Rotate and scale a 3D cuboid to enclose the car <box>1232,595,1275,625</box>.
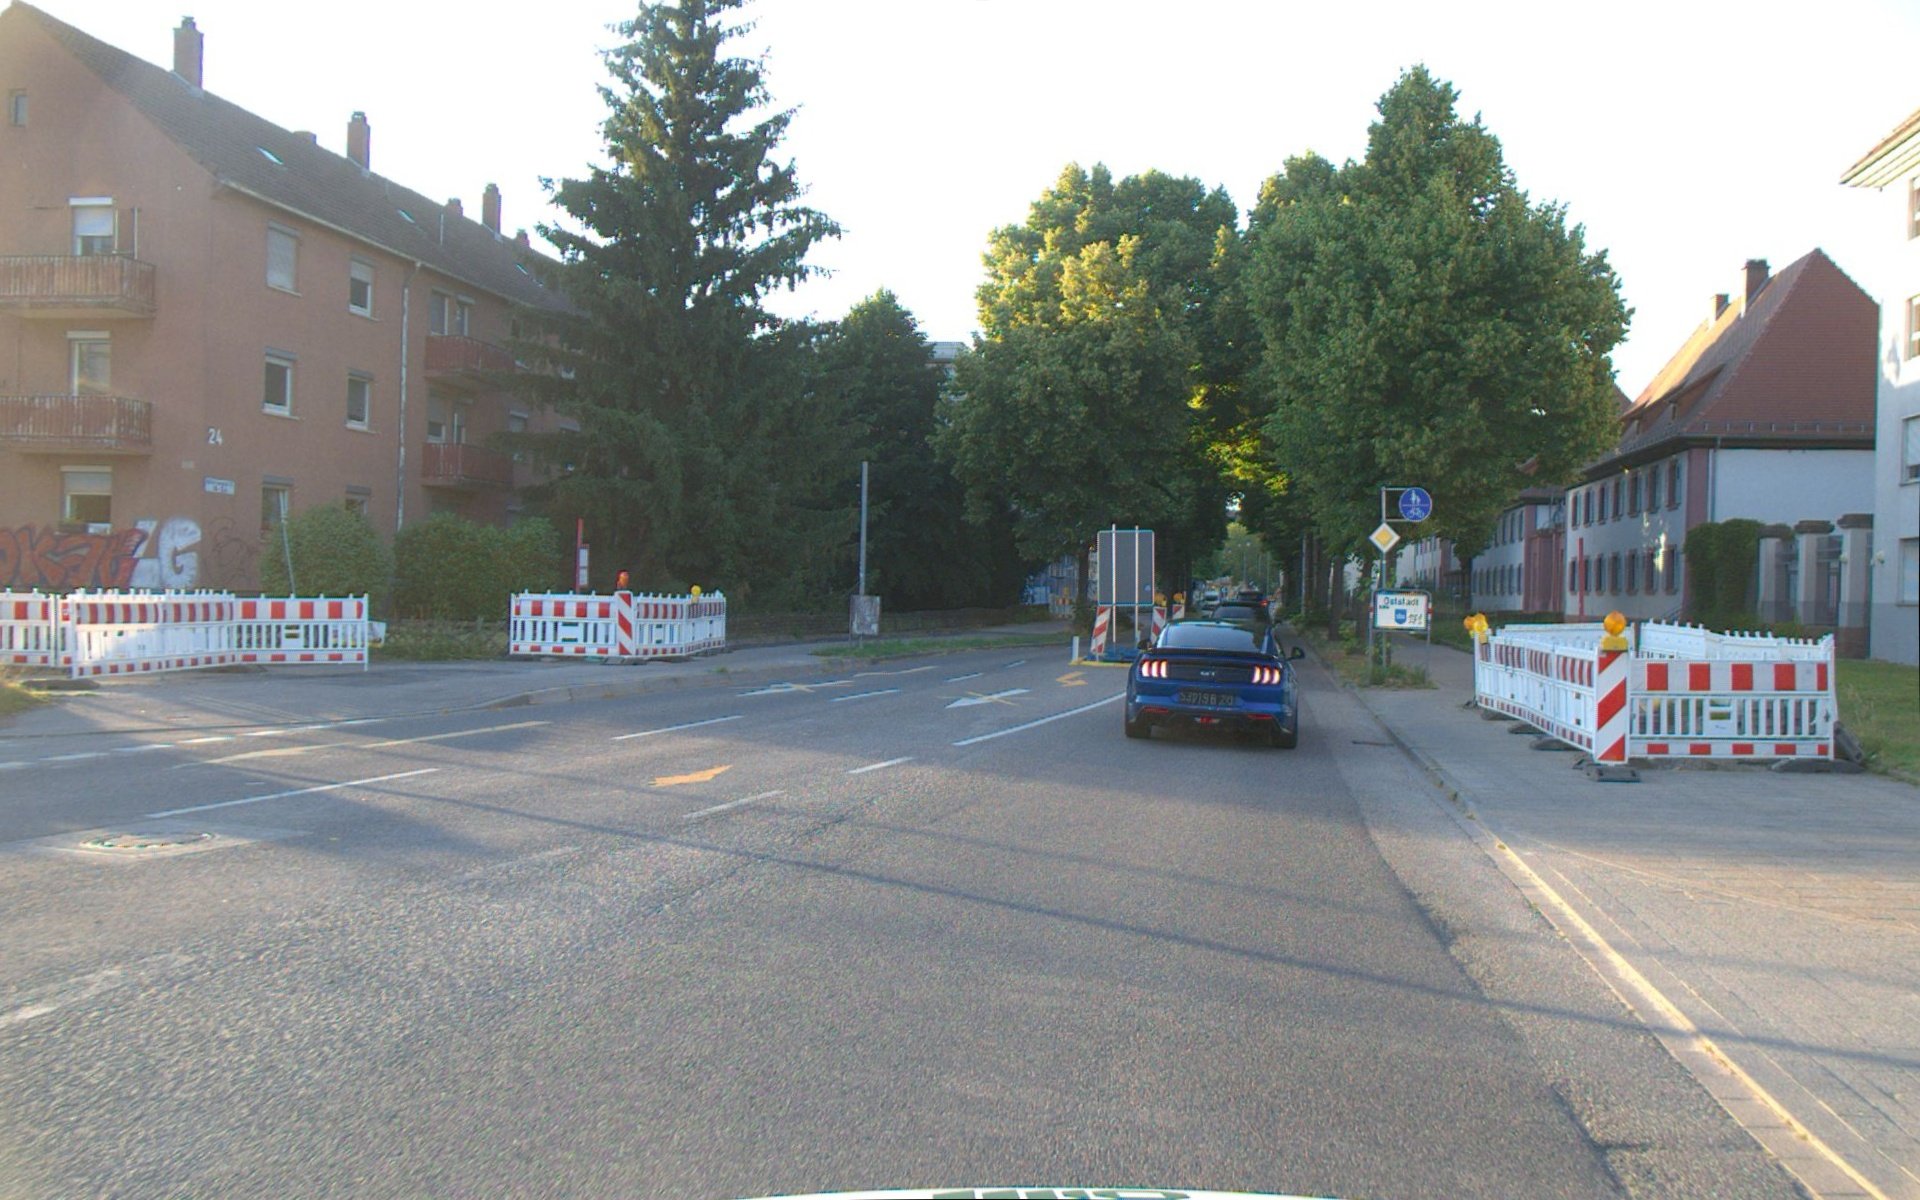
[{"bbox_3d":[14.736,0.493,82.978,1.905,1.349,4.003,3,1,12],"label":"car"}]

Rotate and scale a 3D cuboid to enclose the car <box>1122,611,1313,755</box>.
[{"bbox_3d":[3.028,0.872,19.208,1.905,1.349,4.003,3,1,10],"label":"car"}]

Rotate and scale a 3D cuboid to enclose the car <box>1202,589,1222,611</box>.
[{"bbox_3d":[33.184,0.019,217.638,2.439,2.744,5.835,1,0,10],"label":"car"}]

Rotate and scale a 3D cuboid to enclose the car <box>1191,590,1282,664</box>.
[{"bbox_3d":[6.644,0.612,39.438,1.905,1.553,4.003,3,1,12],"label":"car"}]

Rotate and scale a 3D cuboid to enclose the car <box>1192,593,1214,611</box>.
[{"bbox_3d":[30.300,0.244,206.206,2.286,2.236,5.313,1,0,12],"label":"car"}]
